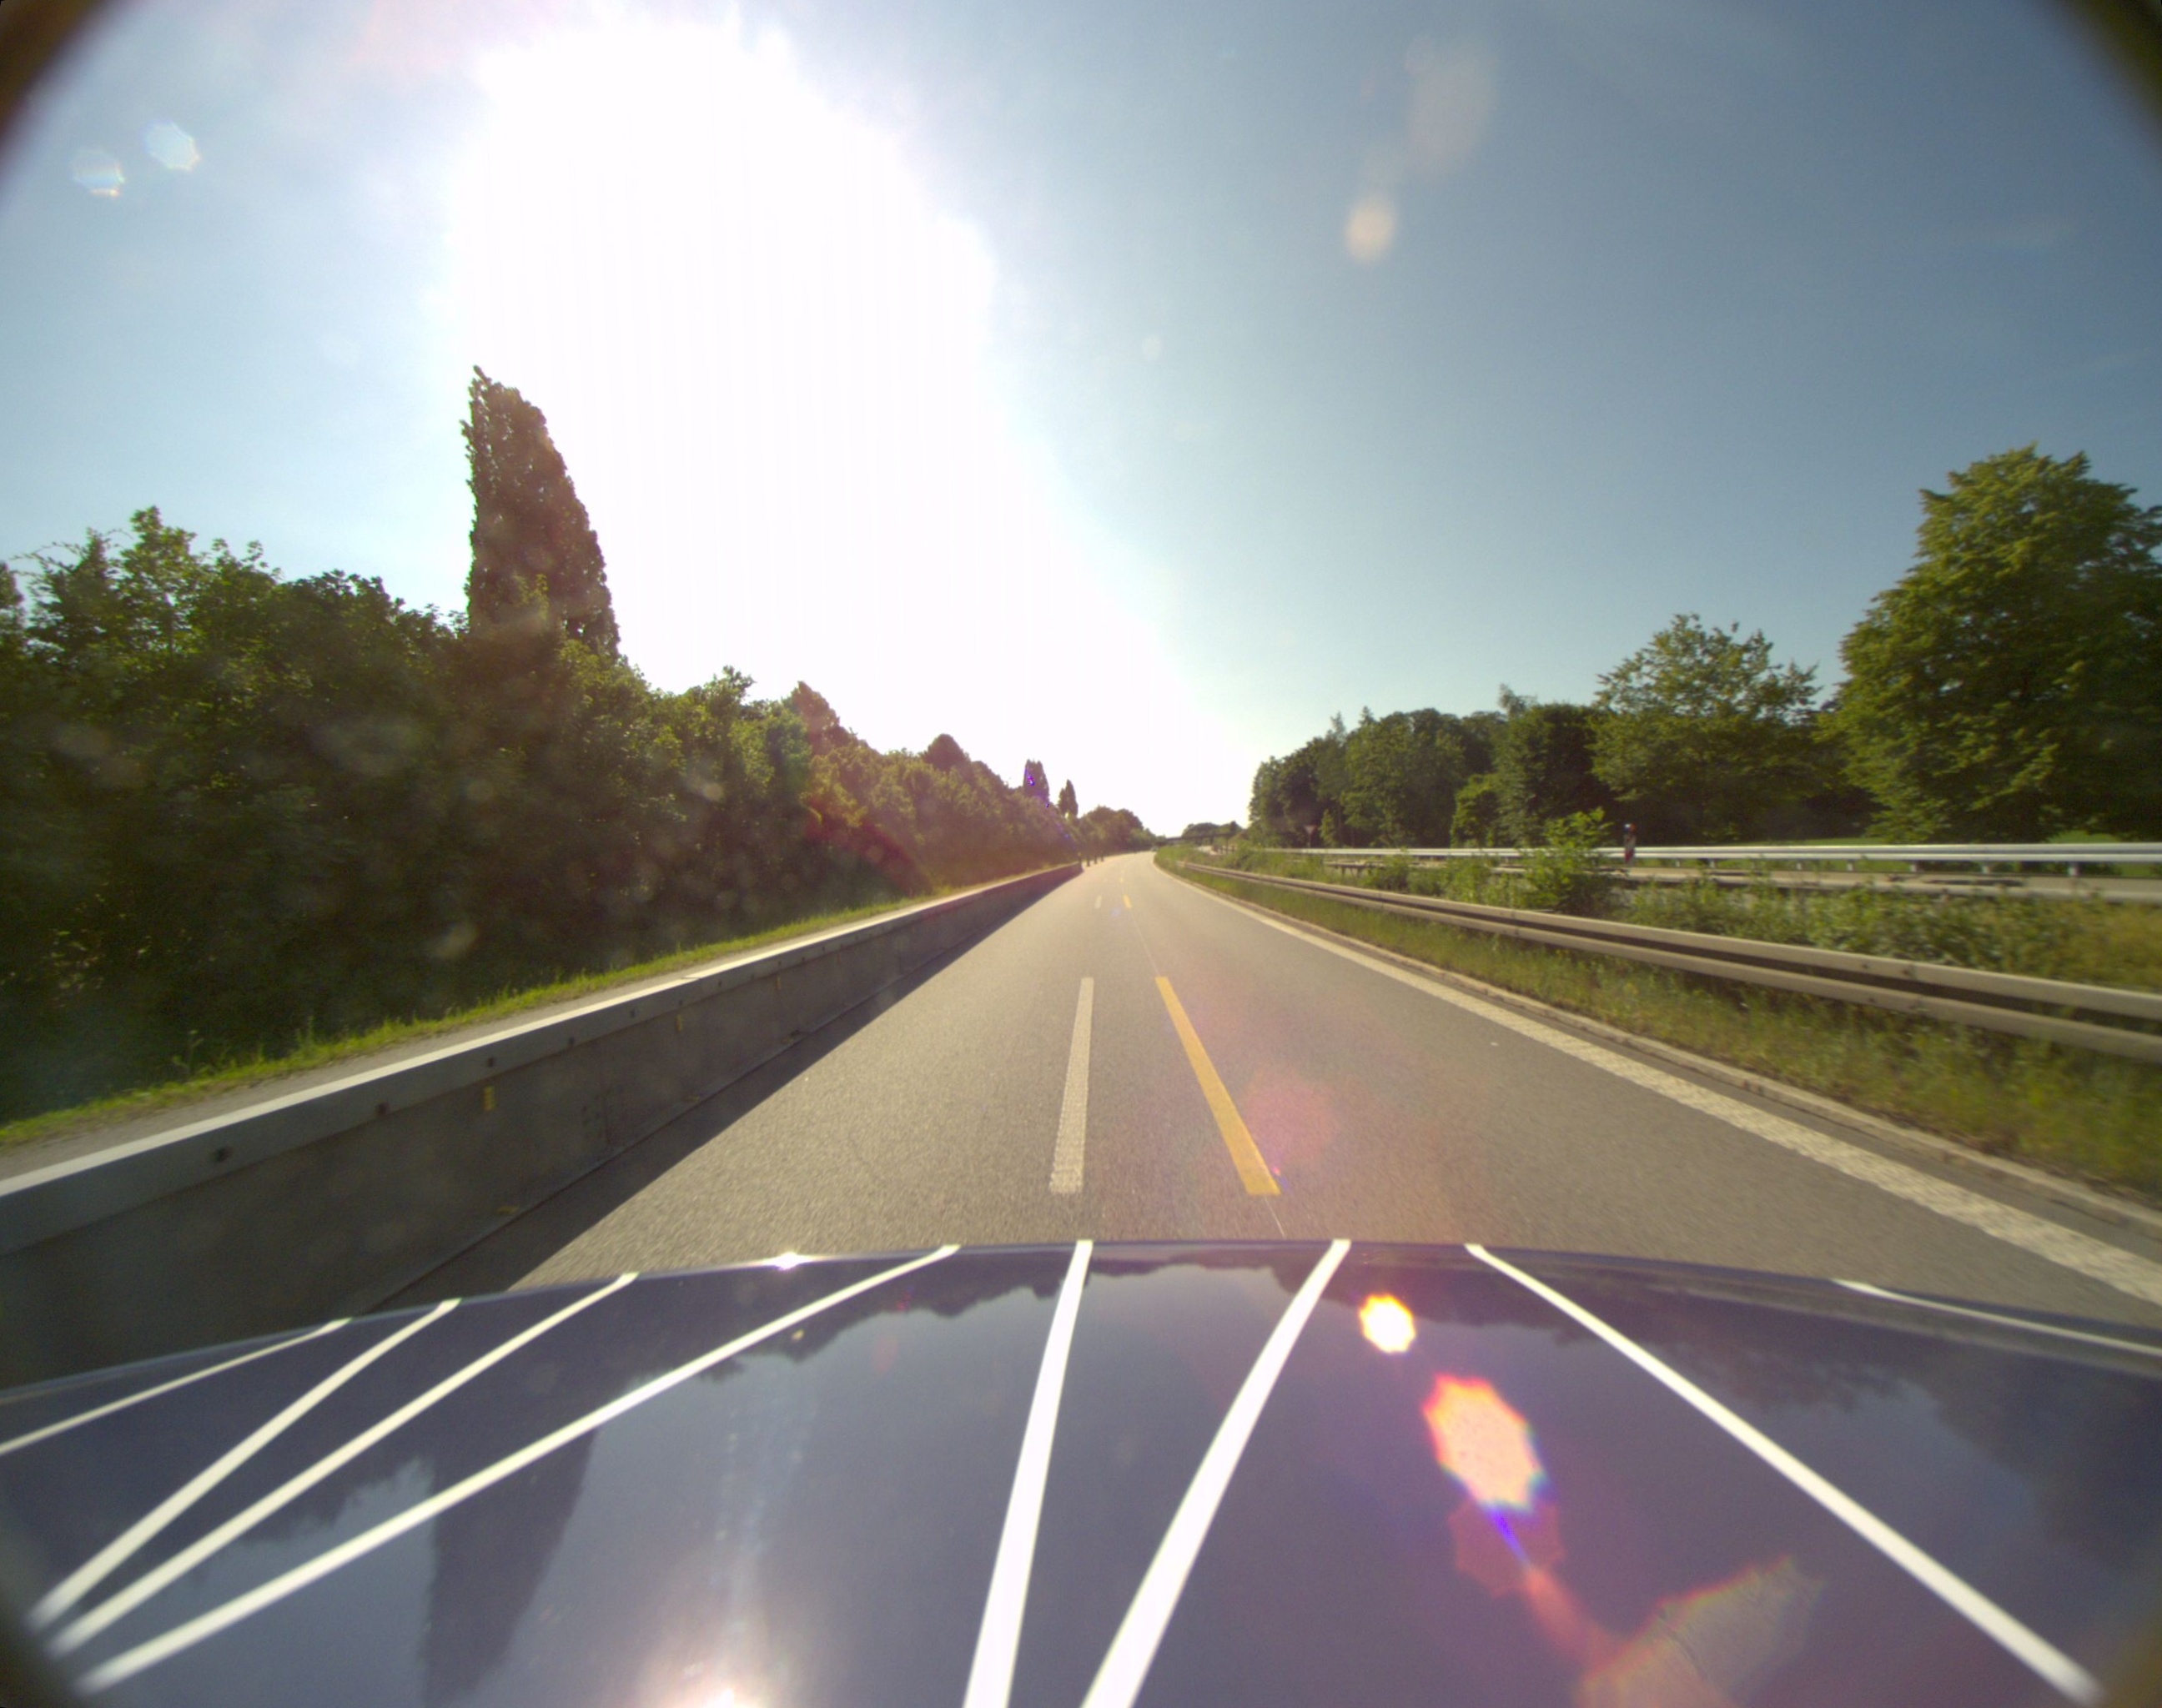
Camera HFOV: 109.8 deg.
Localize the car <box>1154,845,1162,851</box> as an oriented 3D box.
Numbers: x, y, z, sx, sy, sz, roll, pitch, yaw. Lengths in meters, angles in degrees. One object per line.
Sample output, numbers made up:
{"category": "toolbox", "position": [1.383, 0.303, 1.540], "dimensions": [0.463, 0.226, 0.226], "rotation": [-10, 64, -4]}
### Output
{"category": "car", "position": [22.190, -1.748, 218.703], "dimensions": [1.719, 1.499, 4.226], "rotation": [-2, 1, 12]}
